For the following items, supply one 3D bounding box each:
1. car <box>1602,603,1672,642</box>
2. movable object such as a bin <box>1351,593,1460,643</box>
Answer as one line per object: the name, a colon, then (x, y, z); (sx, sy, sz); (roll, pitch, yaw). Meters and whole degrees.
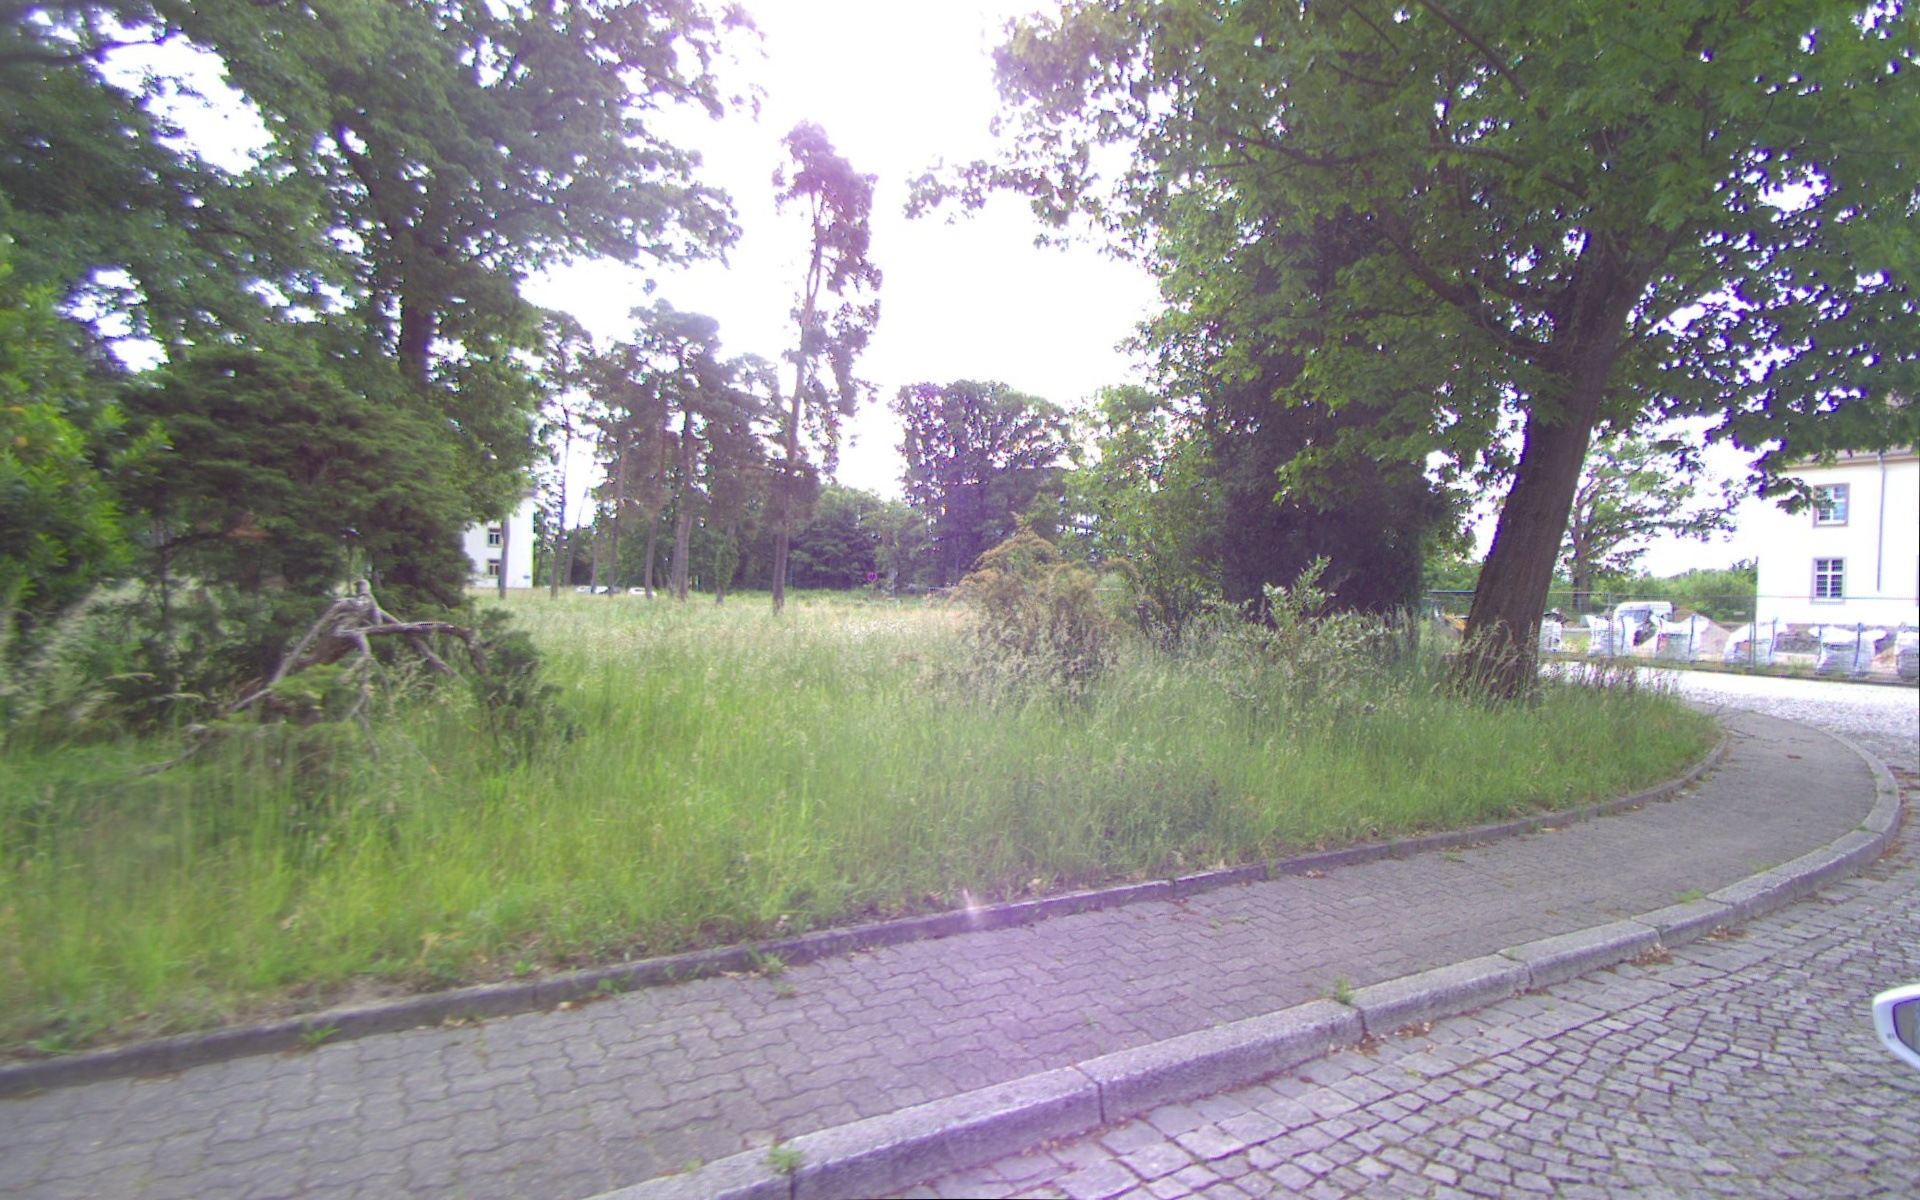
car: (40.358, 1.319, 59.842); (4.855, 2.179, 2.051); (1, 0, -38)
movable object such as a bin: (24.611, 0.945, 55.707); (1.978, 2.590, 5.299); (1, 0, -32)
